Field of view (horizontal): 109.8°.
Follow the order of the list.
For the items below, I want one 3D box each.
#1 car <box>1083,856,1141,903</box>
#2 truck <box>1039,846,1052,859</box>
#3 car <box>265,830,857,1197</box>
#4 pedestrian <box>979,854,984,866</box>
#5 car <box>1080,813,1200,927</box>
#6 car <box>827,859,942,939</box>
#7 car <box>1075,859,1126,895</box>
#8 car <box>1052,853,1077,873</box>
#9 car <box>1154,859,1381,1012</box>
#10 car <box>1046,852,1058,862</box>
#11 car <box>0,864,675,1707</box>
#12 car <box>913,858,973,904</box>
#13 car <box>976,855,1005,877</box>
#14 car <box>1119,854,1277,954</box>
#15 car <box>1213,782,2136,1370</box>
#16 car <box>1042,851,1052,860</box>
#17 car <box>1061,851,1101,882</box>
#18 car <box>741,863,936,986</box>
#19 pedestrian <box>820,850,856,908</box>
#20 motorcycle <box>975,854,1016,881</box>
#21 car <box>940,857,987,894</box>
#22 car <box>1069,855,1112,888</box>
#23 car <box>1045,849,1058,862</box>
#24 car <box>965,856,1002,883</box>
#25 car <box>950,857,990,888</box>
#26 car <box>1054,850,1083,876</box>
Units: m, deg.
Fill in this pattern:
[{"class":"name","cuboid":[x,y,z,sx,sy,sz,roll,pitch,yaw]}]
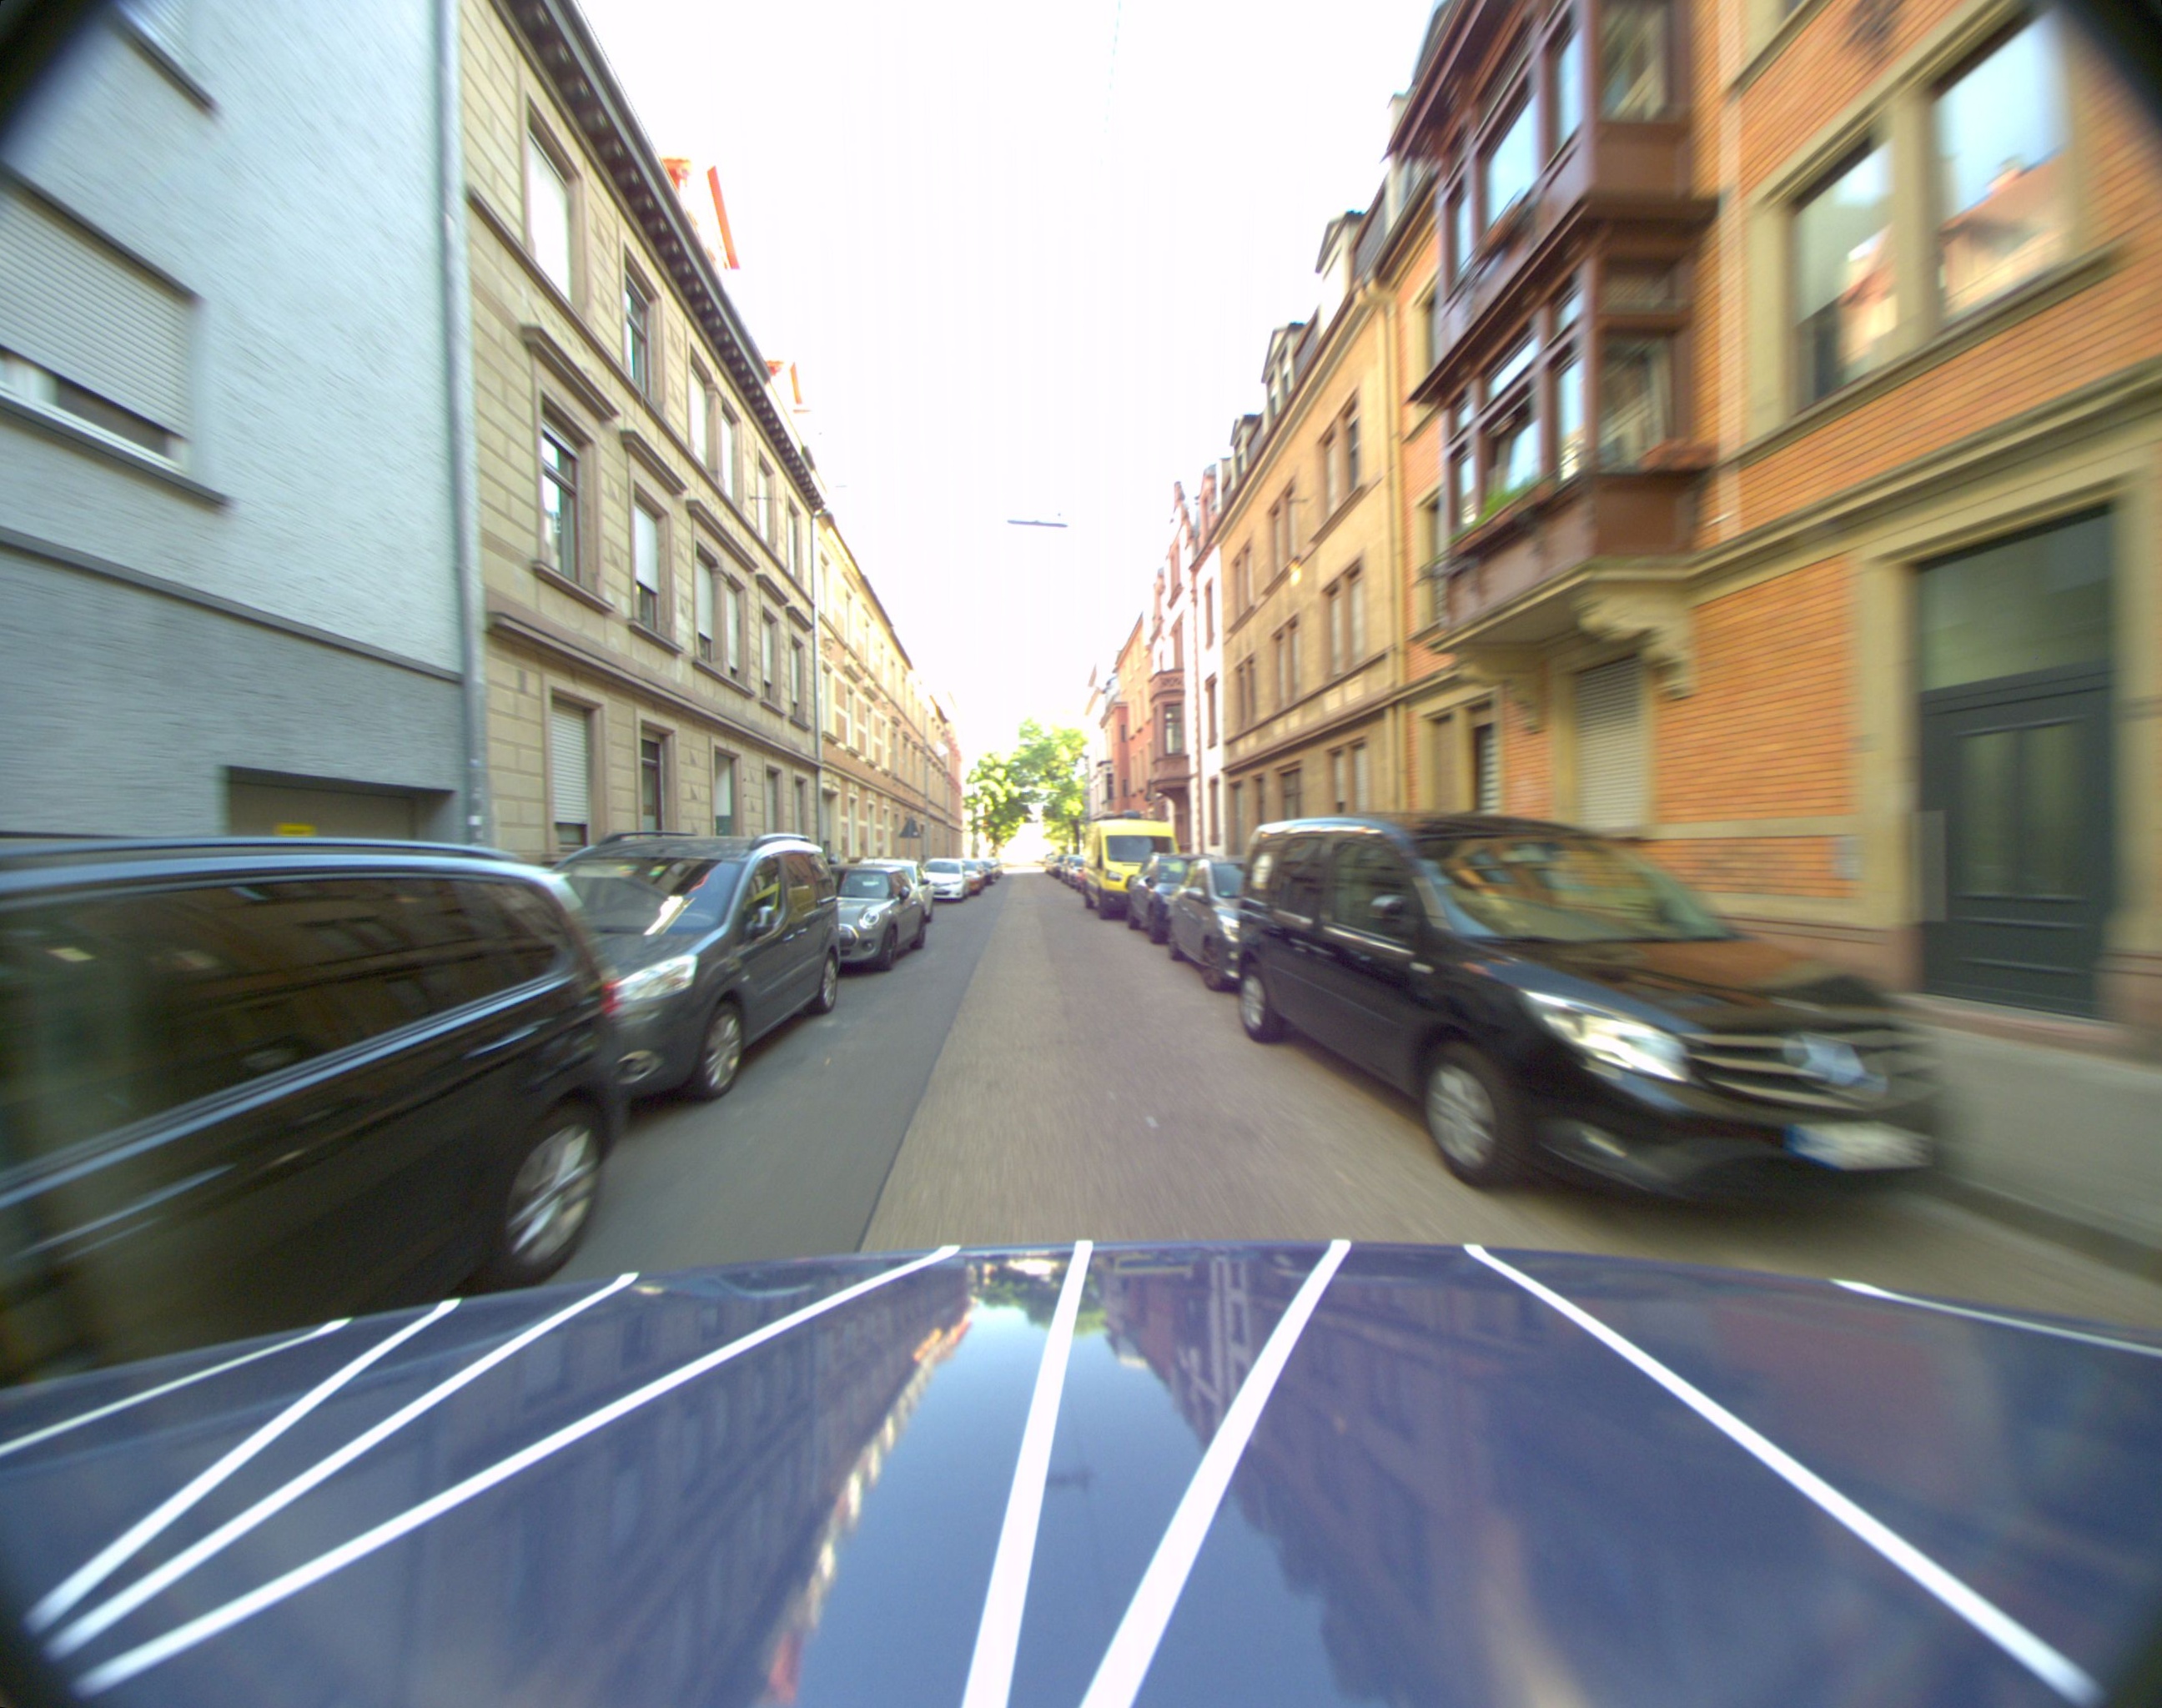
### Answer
[{"class":"car","cuboid":[1.011,0.832,26.506,1.723,1.404,3.897,3,0,-1]},{"class":"truck","cuboid":[-7.647,-0.347,163.421,2.396,2.641,7.089,-2,0,-6]},{"class":"car","cuboid":[-3.229,0.794,6.094,1.759,1.775,4.721,1,0,-4]},{"class":"pedestrian","cuboid":[-14.462,0.862,110.263,0.529,1.834,0.706,-2,1,-3]},{"class":"car","cuboid":[1.316,0.357,19.834,2.181,2.493,5.875,1,0,-5]},{"class":"car","cuboid":[-4.304,0.912,17.321,1.759,1.509,4.441,3,0,-5]},{"class":"car","cuboid":[0.737,0.880,30.849,1.623,1.319,3.610,1,0,-5]},{"class":"car","cuboid":[-1.268,0.664,56.747,1.648,1.447,3.837,1,0,-5]},{"class":"car","cuboid":[2.083,0.842,9.557,1.682,1.441,3.643,-2,0,-4]},{"class":"car","cuboid":[-4.502,0.453,119.457,1.732,1.455,3.843,0,0,-4]},{"class":"car","cuboid":[-2.687,0.909,1.254,1.906,1.630,4.388,-1,1,-5]},{"class":"car","cuboid":[-5.001,0.931,27.934,1.726,1.472,4.080,2,0,-5]},{"class":"car","cuboid":[-6.473,0.810,54.475,1.767,1.475,4.400,-1,0,-4]},{"class":"car","cuboid":[1.981,0.797,14.111,1.999,1.543,3.998,-1,0,-5]},{"class":"car","cuboid":[2.330,0.658,4.556,1.824,1.756,4.332,-2,1,-7]},{"class":"car","cuboid":[-6.446,0.293,145.688,1.755,1.464,3.998,-3,0,-4]},{"class":"car","cuboid":[-0.042,0.669,42.118,1.786,1.596,4.067,-2,0,-6]},{"class":"car","cuboid":[-3.475,0.921,11.758,1.758,1.444,4.286,3,0,-3]},{"class":"pedestrian","cuboid":[-7.047,0.700,22.015,0.878,1.621,0.657,2,2,44]},{"class":"motorcycle","cuboid":[-5.279,0.830,46.759,2.229,1.528,0.888,-4,1,-30]},{"class":"car","cuboid":[-5.019,0.876,32.916,1.759,1.437,4.066,2,0,-6]},{"class":"car","cuboid":[0.411,0.811,36.354,1.699,1.466,3.917,1,0,-4]},{"class":"car","cuboid":[-4.853,0.223,124.926,1.999,1.946,5.040,1,0,-4]},{"class":"car","cuboid":[-5.524,0.856,43.302,1.782,1.388,4.315,-2,0,-4]},{"class":"car","cuboid":[-5.432,0.877,37.641,1.731,1.409,4.091,3,0,-6]},{"class":"car","cuboid":[-0.872,0.580,51.578,1.766,1.608,4.187,-1,0,-4]}]
